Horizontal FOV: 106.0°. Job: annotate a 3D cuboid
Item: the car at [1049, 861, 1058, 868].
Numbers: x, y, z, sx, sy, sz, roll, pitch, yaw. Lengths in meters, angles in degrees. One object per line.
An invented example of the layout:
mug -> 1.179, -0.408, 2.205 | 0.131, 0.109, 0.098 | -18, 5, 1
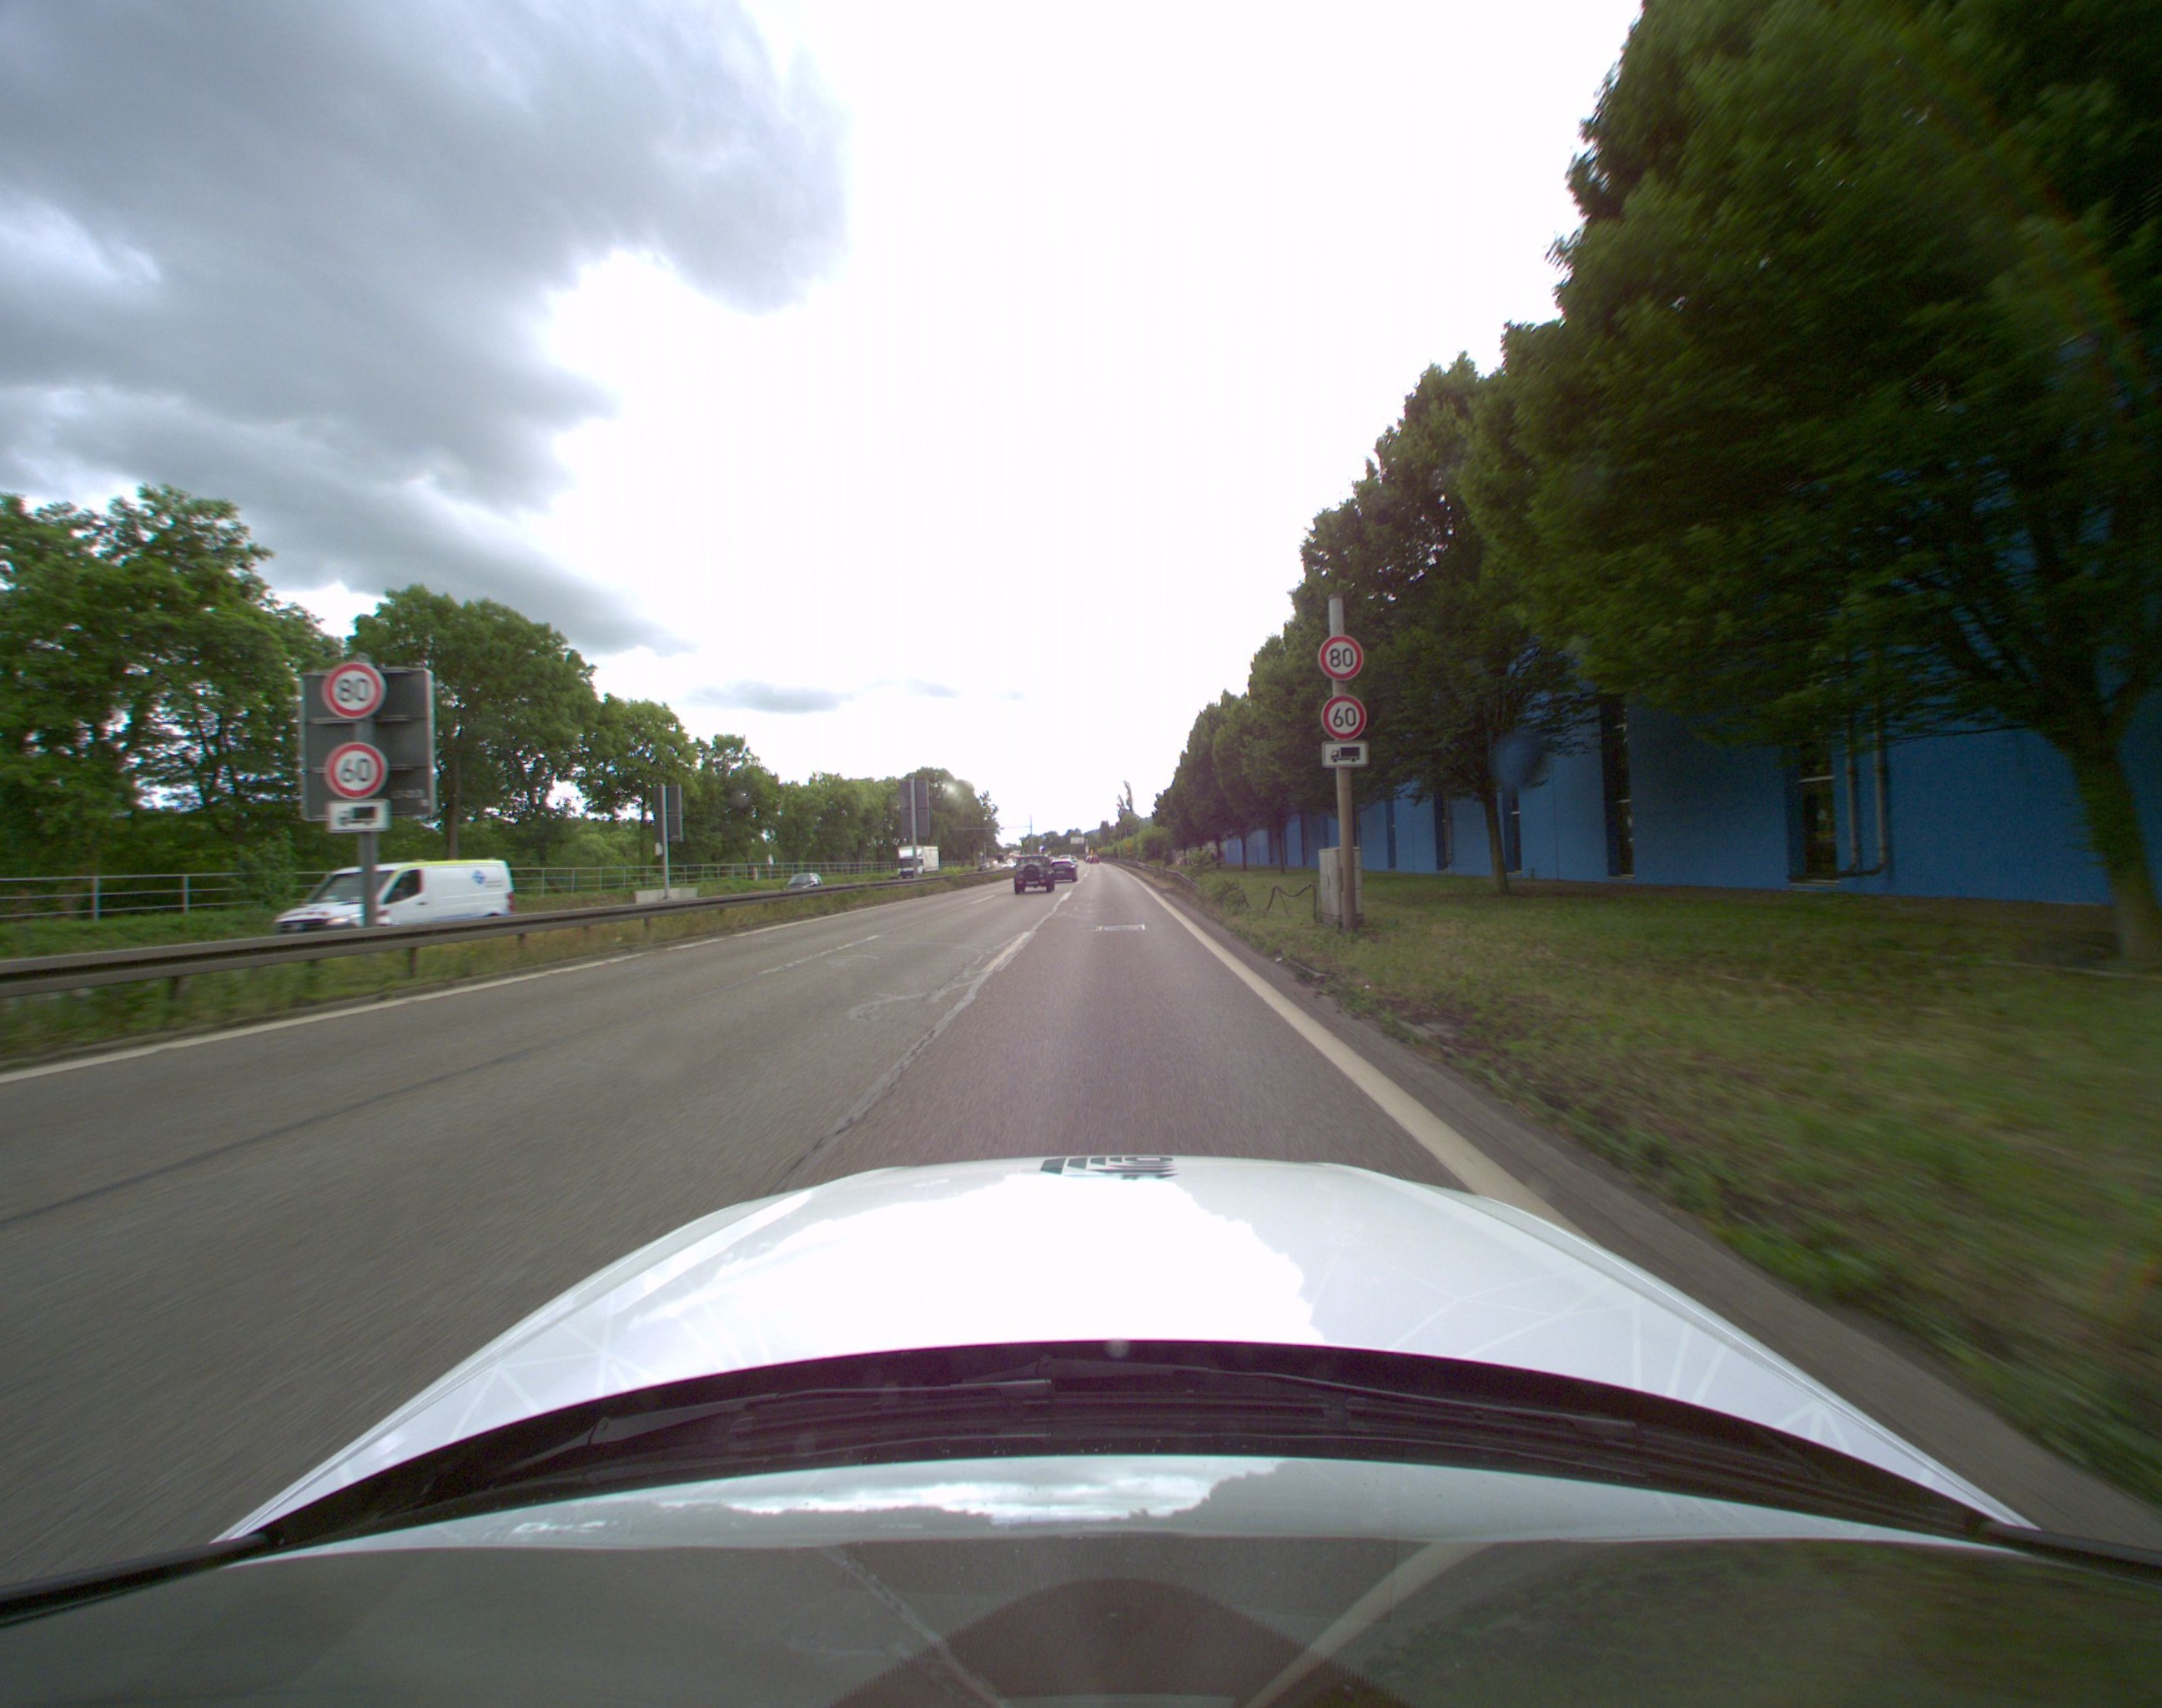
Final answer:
car -> -8.359, 3.284, 246.617 | 2.013, 1.934, 4.884 | -4, -1, -9

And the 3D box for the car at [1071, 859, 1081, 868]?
car -> -1.370, 2.463, 210.805 | 2.010, 1.934, 4.891 | -4, -1, -5

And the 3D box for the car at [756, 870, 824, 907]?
car -> -15.546, 1.807, 43.717 | 1.870, 1.725, 4.151 | -2, 0, 4

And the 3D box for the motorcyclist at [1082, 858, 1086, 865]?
motorcyclist -> 0.795, 1.962, 205.890 | 0.789, 1.760, 0.922 | -2, 0, -1

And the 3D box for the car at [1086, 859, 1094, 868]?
car -> 1.936, 2.084, 176.923 | 1.692, 1.742, 4.393 | -3, -1, 1

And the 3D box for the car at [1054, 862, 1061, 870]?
car -> -5.760, 2.939, 202.609 | 1.693, 1.742, 4.390 | -4, -1, -2

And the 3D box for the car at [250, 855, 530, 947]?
car -> -17.302, 1.080, 20.924 | 2.216, 1.948, 5.479 | -3, -1, 4

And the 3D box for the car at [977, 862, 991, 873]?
car -> -16.377, 2.286, 137.860 | 1.720, 1.605, 4.044 | -5, -1, 2

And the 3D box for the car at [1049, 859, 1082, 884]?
car -> -0.938, 1.099, 51.538 | 1.838, 1.423, 4.900 | -2, -1, 1

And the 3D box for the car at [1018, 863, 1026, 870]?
car -> -15.898, 3.420, 220.110 | 1.720, 1.775, 3.742 | -3, -1, 1

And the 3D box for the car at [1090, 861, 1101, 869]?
car -> 2.746, 2.159, 155.472 | 1.969, 1.423, 4.897 | -4, -1, -1

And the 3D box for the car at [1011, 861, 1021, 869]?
car -> -14.746, 2.423, 185.162 | 1.860, 1.674, 4.719 | -4, -1, 0

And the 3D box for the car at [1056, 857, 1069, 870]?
car -> -2.649, 1.423, 118.970 | 1.692, 1.742, 4.000 | -3, 0, 1

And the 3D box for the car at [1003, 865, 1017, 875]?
car -> -12.482, 2.790, 143.370 | 1.691, 1.605, 4.540 | -5, -1, 2

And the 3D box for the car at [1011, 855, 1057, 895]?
car -> -2.094, 0.909, 37.139 | 1.691, 1.686, 4.002 | -2, 0, 2

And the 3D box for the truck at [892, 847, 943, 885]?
truck -> -16.955, 1.215, 85.124 | 2.878, 3.579, 9.590 | -3, -1, 2
